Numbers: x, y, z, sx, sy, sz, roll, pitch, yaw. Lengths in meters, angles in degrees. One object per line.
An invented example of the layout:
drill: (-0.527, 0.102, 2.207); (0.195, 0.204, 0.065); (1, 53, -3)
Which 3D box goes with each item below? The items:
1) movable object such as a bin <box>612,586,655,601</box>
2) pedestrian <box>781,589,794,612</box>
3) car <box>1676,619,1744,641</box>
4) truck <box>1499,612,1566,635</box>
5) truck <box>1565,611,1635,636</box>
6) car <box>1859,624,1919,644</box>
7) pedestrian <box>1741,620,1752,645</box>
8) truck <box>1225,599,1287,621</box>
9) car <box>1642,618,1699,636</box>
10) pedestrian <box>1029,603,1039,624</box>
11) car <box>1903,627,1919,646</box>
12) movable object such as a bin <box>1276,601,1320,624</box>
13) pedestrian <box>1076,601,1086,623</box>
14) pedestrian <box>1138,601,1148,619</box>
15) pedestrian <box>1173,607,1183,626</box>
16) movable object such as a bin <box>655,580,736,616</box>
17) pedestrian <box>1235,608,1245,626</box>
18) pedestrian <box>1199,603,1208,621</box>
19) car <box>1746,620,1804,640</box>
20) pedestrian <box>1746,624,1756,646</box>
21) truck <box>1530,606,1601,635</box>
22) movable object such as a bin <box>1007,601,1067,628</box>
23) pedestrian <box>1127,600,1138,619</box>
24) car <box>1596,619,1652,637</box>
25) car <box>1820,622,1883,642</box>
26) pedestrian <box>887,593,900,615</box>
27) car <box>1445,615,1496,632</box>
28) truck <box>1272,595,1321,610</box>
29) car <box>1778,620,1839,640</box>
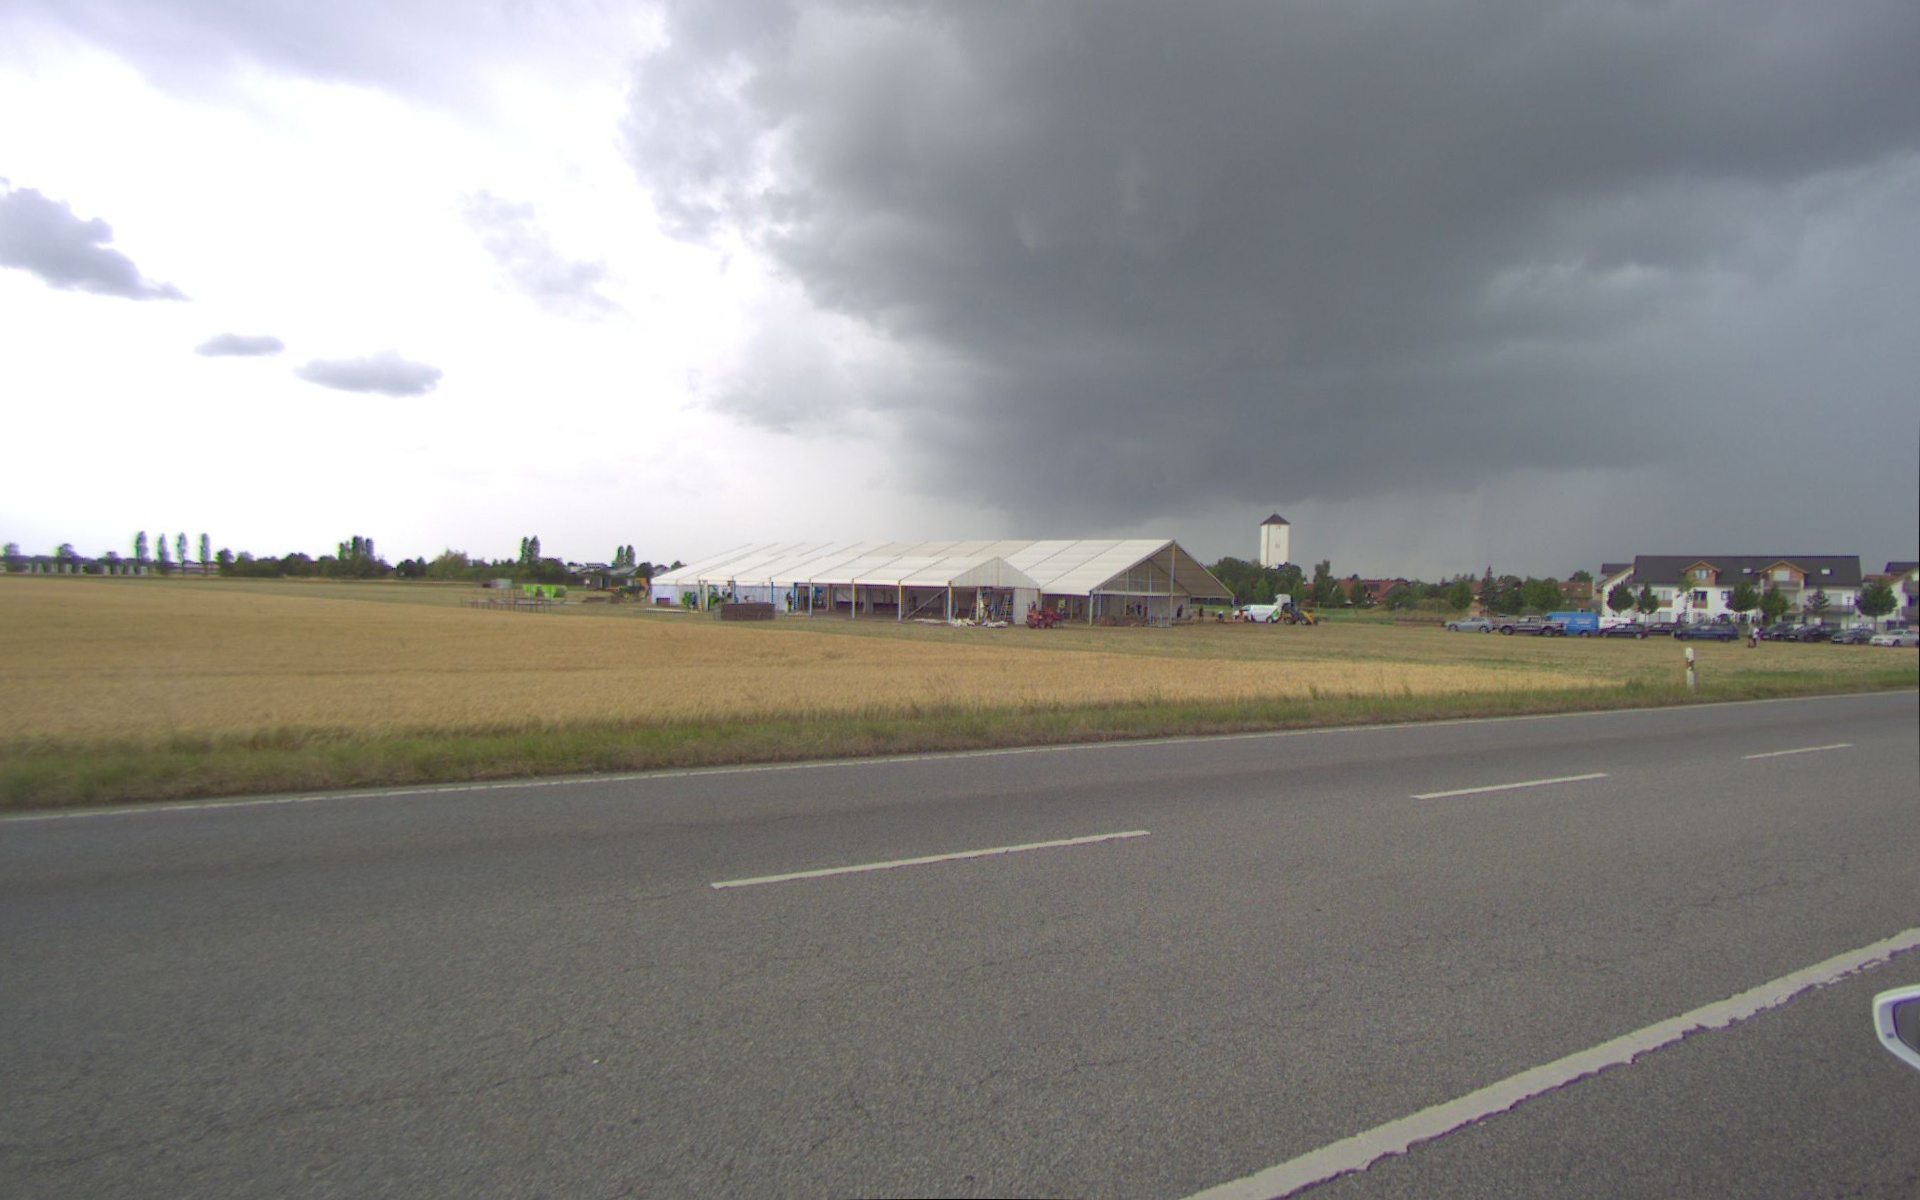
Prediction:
movable object such as a bin: (-46.812, -0.957, 144.060); (2.528, 2.040, 5.388); (2, 0, 40)
pedestrian: (-15.244, 0.057, 88.681); (1.005, 2.040, 0.806); (1, 0, -1)
car: (65.871, 2.617, 88.276); (4.659, 1.720, 1.991); (1, 0, 40)
truck: (51.662, 2.099, 90.642); (5.154, 1.946, 2.107); (1, 0, 33)
truck: (61.514, 2.232, 96.608); (5.493, 2.226, 2.597); (1, 0, 37)
car: (76.798, 2.808, 82.801); (4.139, 1.465, 1.995); (1, 0, -13)
pedestrian: (58.997, 2.428, 75.358); (0.673, 1.809, 0.543); (1, 0, -43)
truck: (32.374, 1.117, 110.031); (5.959, 2.246, 2.714); (1, 0, 32)
car: (71.691, 2.709, 101.417); (4.570, 1.720, 1.991); (1, 0, 40)
pedestrian: (5.817, 1.064, 79.040); (0.463, 1.649, 0.581); (1, 0, 38)
car: (77.900, 2.914, 80.095); (4.139, 1.465, 1.995); (1, 0, -13)
movable object such as a bin: (35.007, 1.285, 103.989); (3.928, 2.273, 1.881); (1, 0, 32)
pedestrian: (11.759, 1.166, 97.613); (0.753, 2.040, 0.877); (1, 0, -4)
pedestrian: (17.801, 0.964, 97.813); (0.645, 1.767, 0.724); (1, 0, 38)
pedestrian: (21.241, 1.608, 97.773); (0.680, 1.799, 0.691); (2, 0, 42)
movable object such as a bin: (-26.295, -0.226, 99.591); (7.465, 3.219, 4.140); (2, 1, 39)
pedestrian: (28.733, 1.747, 103.105); (0.690, 1.799, 0.682); (1, 0, -44)
pedestrian: (24.856, 1.224, 102.473); (0.616, 1.890, 0.705); (2, 0, 40)
car: (74.864, 2.744, 92.249); (4.139, 1.650, 1.995); (1, 0, -13)
pedestrian: (59.812, 2.634, 75.934); (0.582, 1.576, 0.623); (1, 0, 40)
truck: (55.575, 1.869, 92.262); (5.378, 2.478, 2.385); (1, 0, 37)
movable object such as a bin: (5.808, 1.115, 75.532); (2.555, 1.889, 4.458); (1, 0, 36)
pedestrian: (16.981, 0.935, 98.805); (0.720, 1.803, 0.757); (1, 0, 39)
car: (60.916, 2.552, 92.169); (4.105, 1.539, 1.991); (1, 0, 39)
car: (75.771, 2.744, 85.398); (4.139, 1.556, 1.995); (1, 0, -13)
pedestrian: (-6.604, 0.395, 99.422); (0.930, 2.130, 0.860); (1, 0, -32)
car: (49.401, 2.253, 97.166); (4.235, 1.481, 1.886); (1, 0, 33)
truck: (62.483, 0.500, 186.731); (3.255, 2.563, 9.317); (1, 0, -25)
car: (74.640, 2.645, 88.371); (4.139, 1.650, 1.995); (1, 0, -13)
